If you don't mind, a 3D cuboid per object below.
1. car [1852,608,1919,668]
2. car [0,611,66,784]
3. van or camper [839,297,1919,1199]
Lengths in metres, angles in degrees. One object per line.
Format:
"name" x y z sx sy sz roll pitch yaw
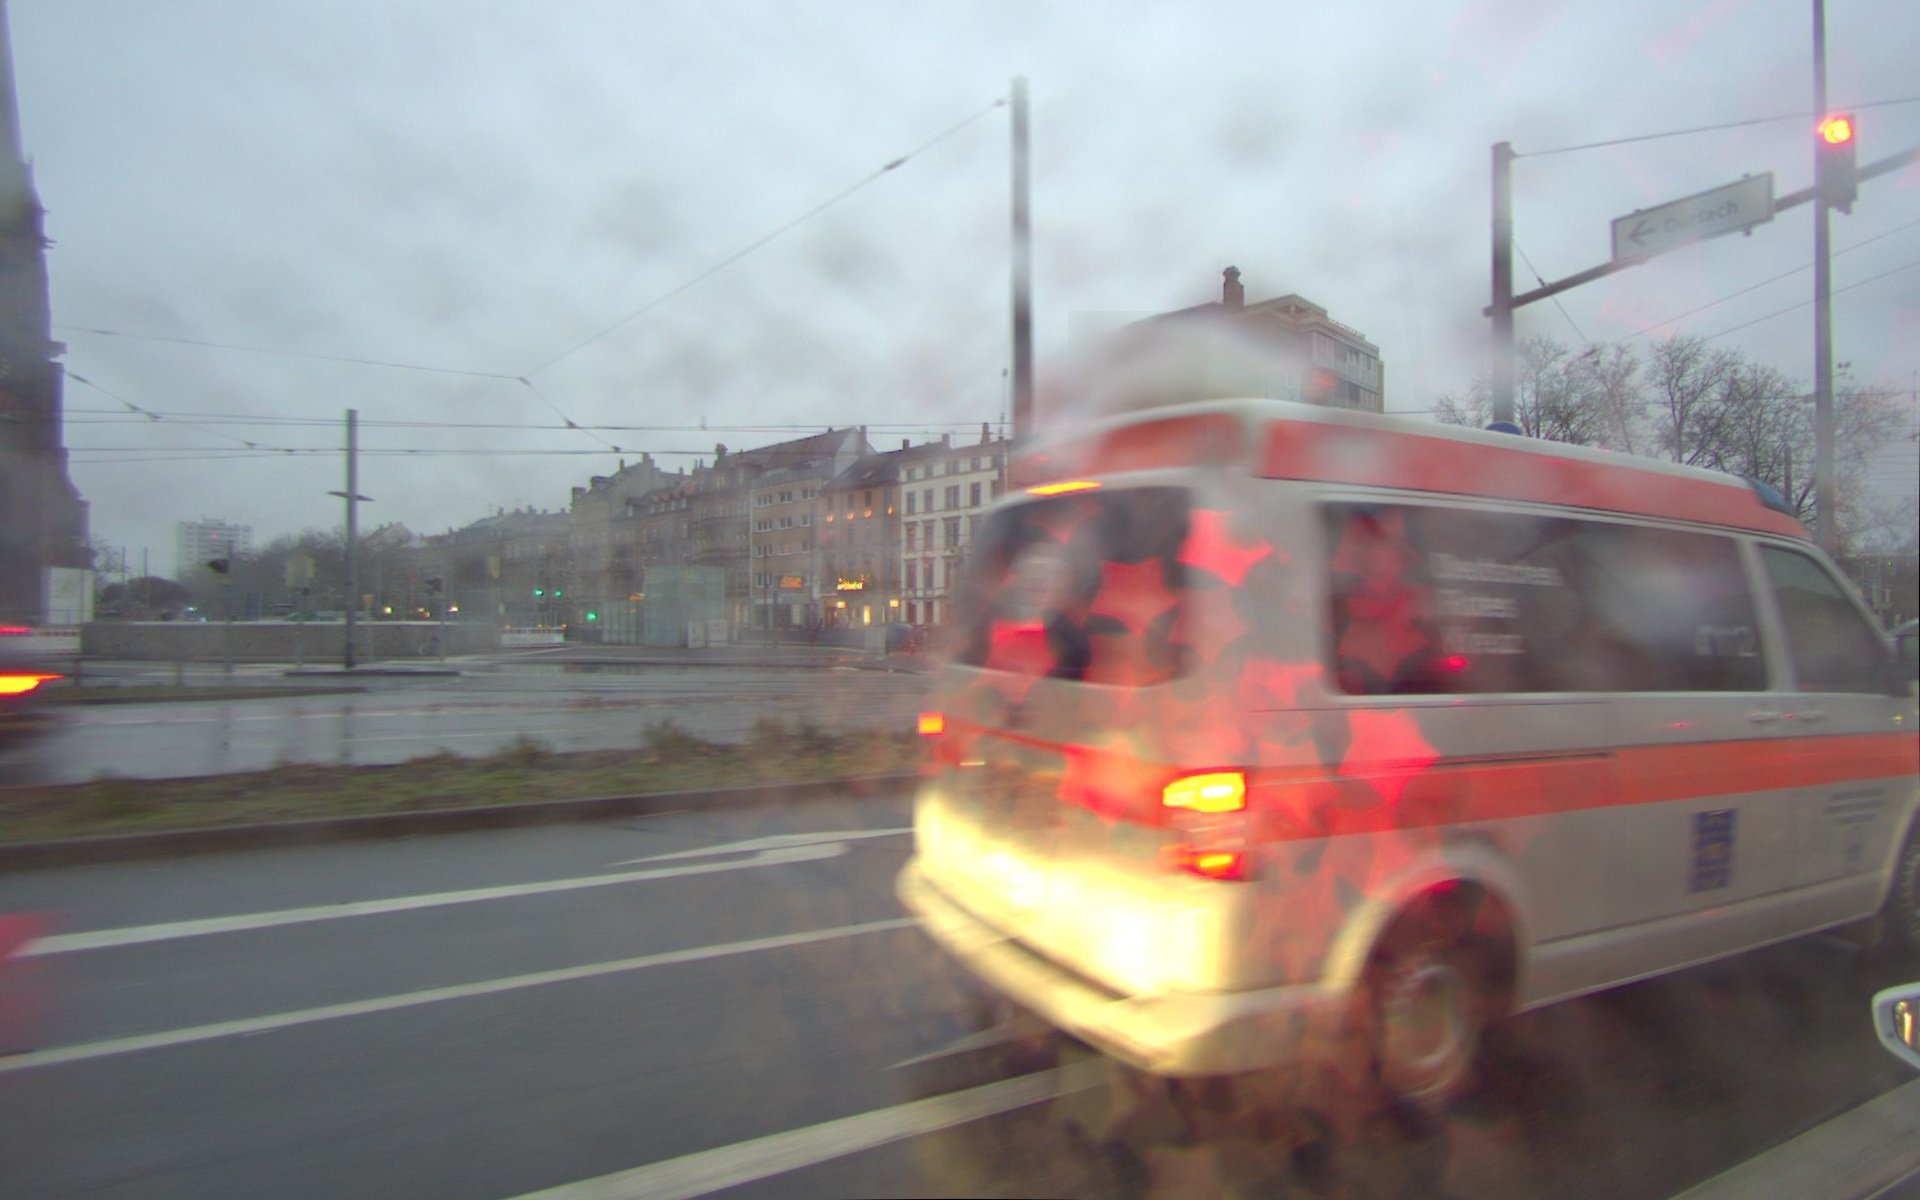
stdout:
"car" 35.129 1.439 36.210 4.356 2.040 1.901 2 -2 44
"car" -10.289 0.776 7.823 4.777 1.438 1.792 2 -1 -37
"van or camper" 2.177 0.425 4.434 4.926 2.137 2.192 1 0 -29
